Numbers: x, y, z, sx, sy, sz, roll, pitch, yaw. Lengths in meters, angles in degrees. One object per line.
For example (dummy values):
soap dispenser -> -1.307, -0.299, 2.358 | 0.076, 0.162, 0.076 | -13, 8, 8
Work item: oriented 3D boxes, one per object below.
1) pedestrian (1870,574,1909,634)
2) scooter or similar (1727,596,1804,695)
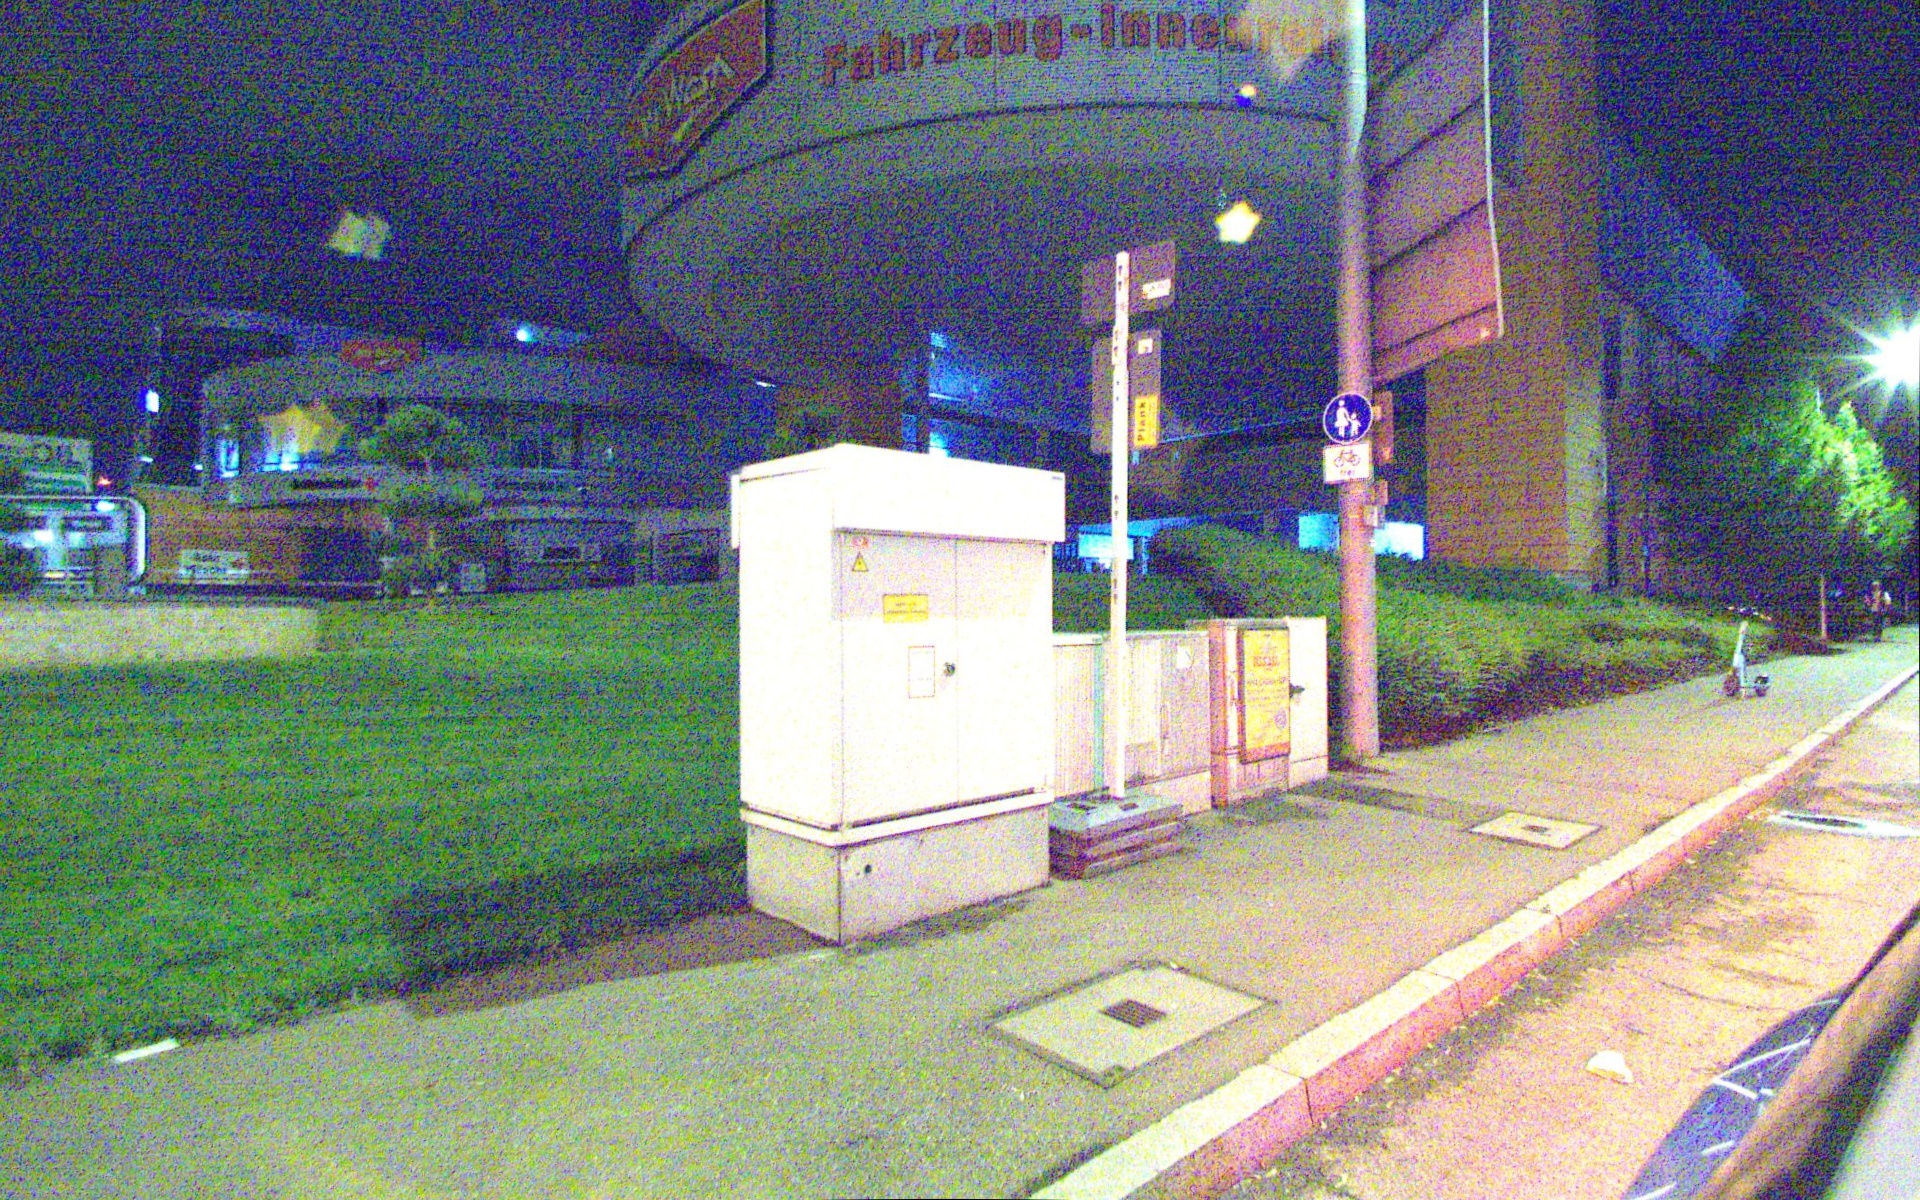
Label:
pedestrian -> 29.242, 0.126, 31.847 | 0.597, 1.842, 0.824 | -1, 0, -40
scooter or similar -> 11.249, 0.608, 14.122 | 1.367, 1.295, 0.569 | 0, 1, -41
